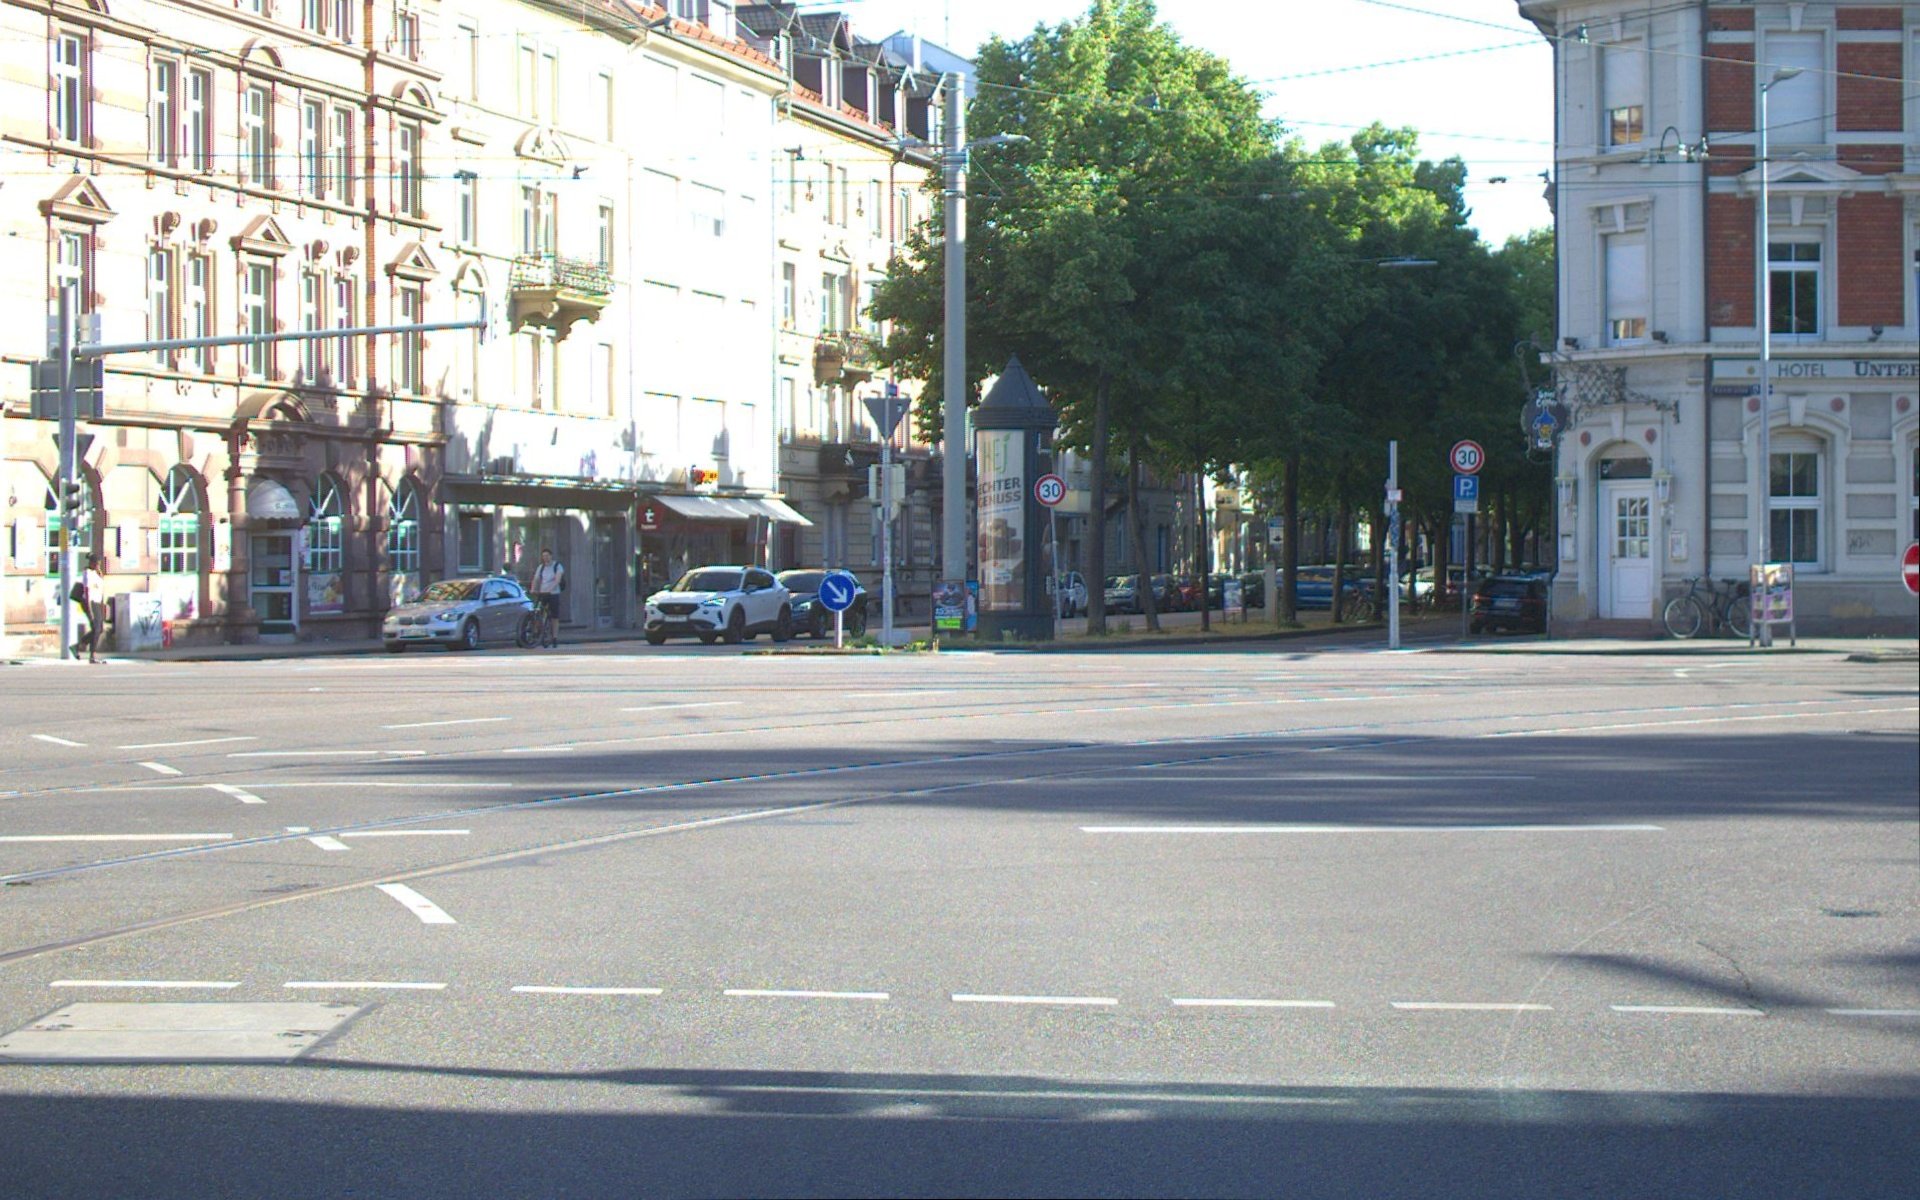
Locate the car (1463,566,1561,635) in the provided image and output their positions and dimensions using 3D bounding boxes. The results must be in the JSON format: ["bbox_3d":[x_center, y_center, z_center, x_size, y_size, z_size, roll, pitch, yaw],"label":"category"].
[{"bbox_3d":[13.270,-0.006,82.452,1.995,1.579,3.998,0,1,14],"label":"car"}]

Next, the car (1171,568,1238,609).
[{"bbox_3d":[9.703,-0.462,136.342,1.766,1.544,4.387,0,1,16],"label":"car"}]

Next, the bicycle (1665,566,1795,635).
[{"bbox_3d":[12.857,0.014,57.401,2.085,1.120,0.367,1,0,-4],"label":"bicycle"}]

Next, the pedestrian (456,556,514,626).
[{"bbox_3d":[-10.589,-0.200,76.680,0.929,1.530,1.136,0,1,14],"label":"pedestrian"}]

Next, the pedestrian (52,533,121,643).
[{"bbox_3d":[-14.042,-0.201,55.290,1.046,1.738,0.809,0,1,-12],"label":"pedestrian"}]

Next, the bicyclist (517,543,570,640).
[{"bbox_3d":[-7.878,-0.161,65.059,0.679,1.814,1.070,0,1,12],"label":"bicyclist"}]

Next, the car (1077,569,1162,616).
[{"bbox_3d":[5.709,-0.295,122.676,1.995,1.607,4.387,0,1,17],"label":"car"}]

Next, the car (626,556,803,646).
[{"bbox_3d":[-4.763,-0.016,67.337,1.995,1.678,4.387,0,1,17],"label":"car"}]

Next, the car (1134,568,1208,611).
[{"bbox_3d":[8.036,-0.413,130.466,1.839,1.547,4.387,0,1,17],"label":"car"}]

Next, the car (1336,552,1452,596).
[{"bbox_3d":[16.865,-1.008,133.635,3.993,1.700,1.997,0,1,30],"label":"car"}]

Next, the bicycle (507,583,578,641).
[{"bbox_3d":[-7.888,0.218,65.023,0.680,1.062,2.124,0,1,12],"label":"bicycle"}]

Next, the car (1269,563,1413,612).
[{"bbox_3d":[12.785,-0.436,115.344,4.382,1.606,1.997,0,1,27],"label":"car"}]

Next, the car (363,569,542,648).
[{"bbox_3d":[-9.852,0.150,67.062,1.900,1.450,3.997,0,1,17],"label":"car"}]

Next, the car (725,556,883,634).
[{"bbox_3d":[-3.317,-0.133,73.850,1.995,1.606,4.387,0,1,17],"label":"car"}]

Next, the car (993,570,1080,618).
[{"bbox_3d":[2.489,-0.219,110.974,1.995,1.481,3.998,0,1,14],"label":"car"}]
